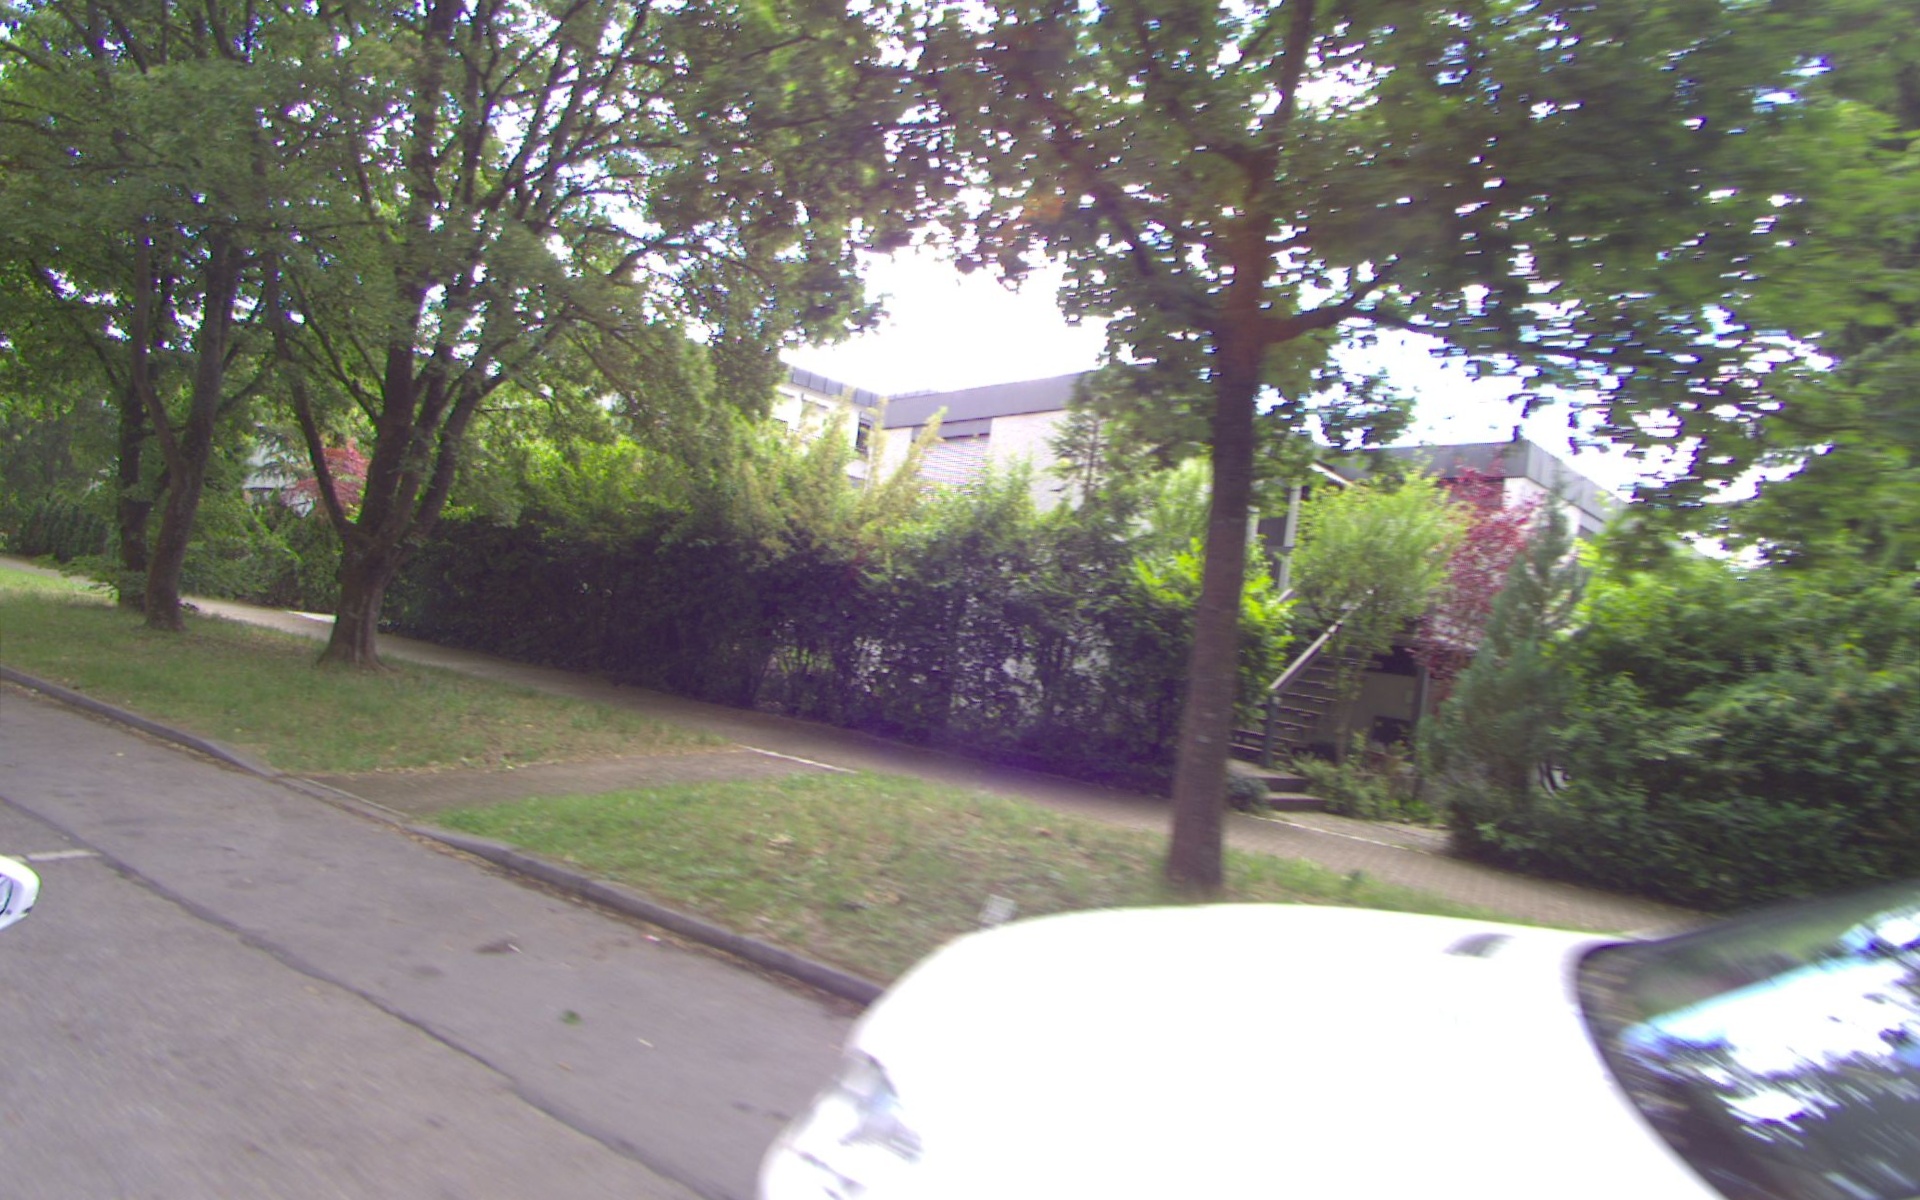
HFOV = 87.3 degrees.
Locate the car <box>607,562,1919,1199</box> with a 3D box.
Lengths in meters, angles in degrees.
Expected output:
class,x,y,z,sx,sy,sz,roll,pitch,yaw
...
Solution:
class,x,y,z,sx,sy,sz,roll,pitch,yaw
car,2.127,1.048,1.135,5.087,1.524,1.891,7,-2,30
